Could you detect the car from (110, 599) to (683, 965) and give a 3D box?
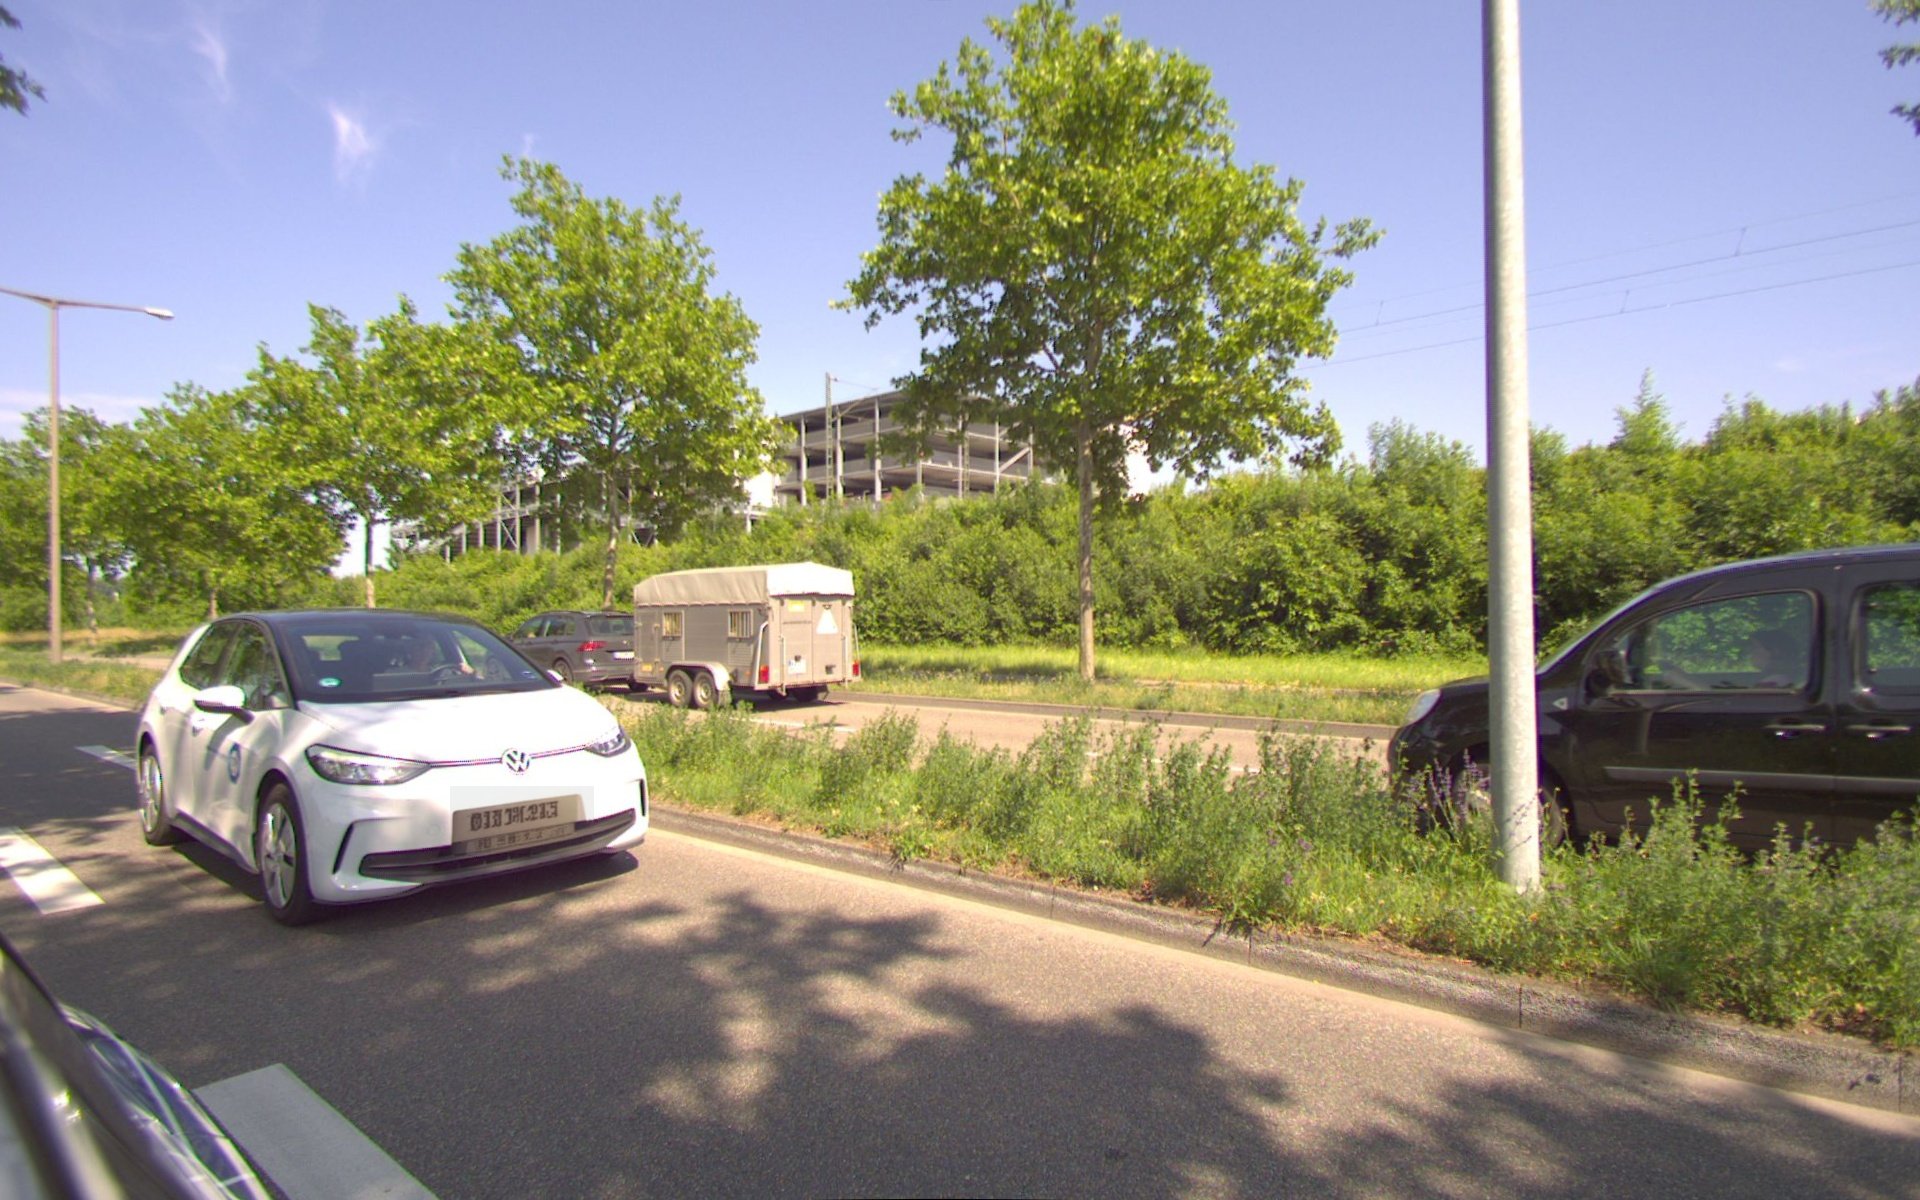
[{"bbox_3d":[-3.718,0.803,6.316,4.206,1.533,1.800,-2,-1,41],"label":"car"}]

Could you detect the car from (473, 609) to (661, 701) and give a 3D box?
[{"bbox_3d":[-7.903,1.015,20.153,4.359,1.634,1.697,-1,-1,41],"label":"car"}]

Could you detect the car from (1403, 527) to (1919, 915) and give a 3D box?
[{"bbox_3d":[4.905,0.554,5.533,4.228,1.823,1.713,-1,0,40],"label":"car"}]

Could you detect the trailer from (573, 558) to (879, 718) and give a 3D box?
[{"bbox_3d":[-4.123,0.588,17.188,5.535,2.282,2.285,-1,-1,41],"label":"trailer"}]
